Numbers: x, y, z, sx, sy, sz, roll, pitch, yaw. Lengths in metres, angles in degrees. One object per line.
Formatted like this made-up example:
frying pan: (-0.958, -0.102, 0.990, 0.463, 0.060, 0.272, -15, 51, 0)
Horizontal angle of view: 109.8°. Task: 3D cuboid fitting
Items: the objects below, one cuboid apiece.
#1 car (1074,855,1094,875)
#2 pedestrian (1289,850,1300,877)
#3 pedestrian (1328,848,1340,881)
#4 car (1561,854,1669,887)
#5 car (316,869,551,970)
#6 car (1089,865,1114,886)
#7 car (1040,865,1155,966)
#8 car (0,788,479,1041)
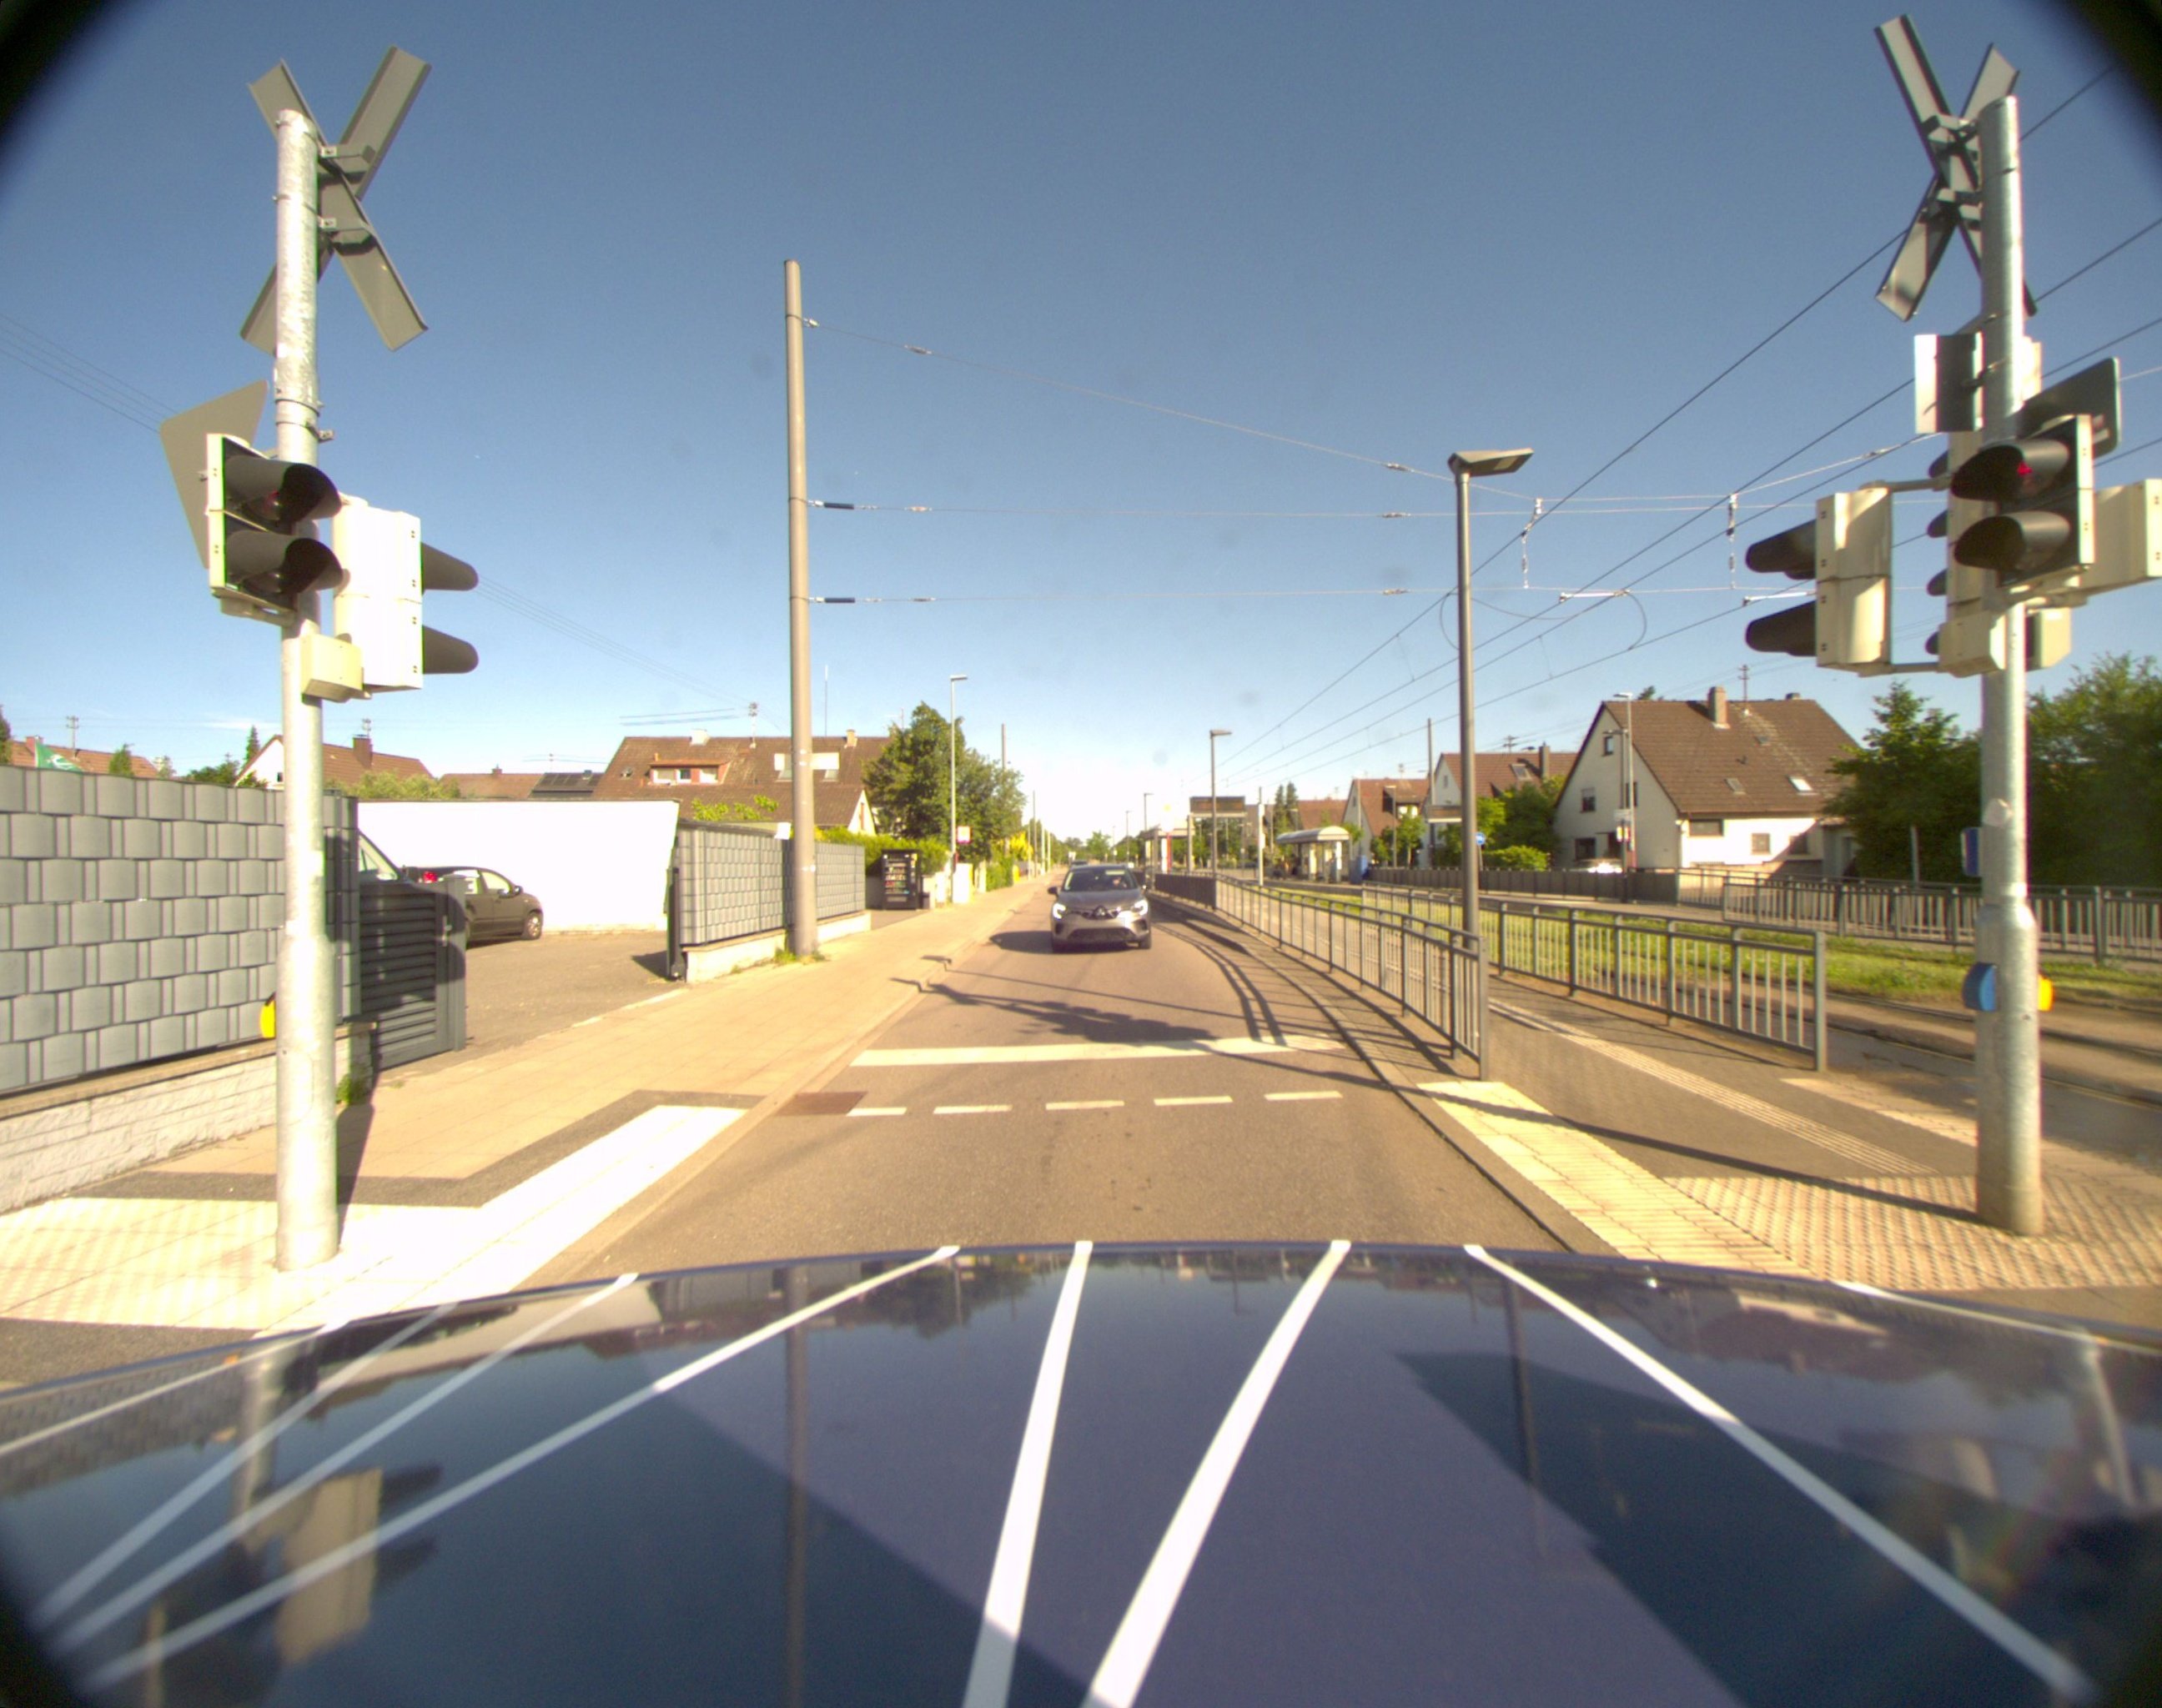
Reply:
car: (0.385, 1.259, 87.663, 2.089, 2.226, 4.723, -2, -1, 1)
pedestrian: (13.565, 0.609, 48.323, 0.534, 1.742, 0.543, -1, 0, 0)
pedestrian: (13.691, 0.558, 41.114, 0.622, 1.742, 0.442, -1, 0, 20)
car: (26.411, 0.793, 37.701, 3.989, 1.526, 2.000, -1, 0, -3)
car: (-11.497, 1.074, 13.829, 1.561, 1.453, 3.487, -2, 1, -8)
car: (1.494, 1.496, 54.718, 1.687, 1.379, 4.001, -2, -1, 1)
car: (0.352, 1.062, 14.654, 1.829, 1.569, 4.001, -3, -1, 2)
car: (-9.985, 0.609, 8.798, 4.983, 2.418, 2.002, -1, 1, 14)
